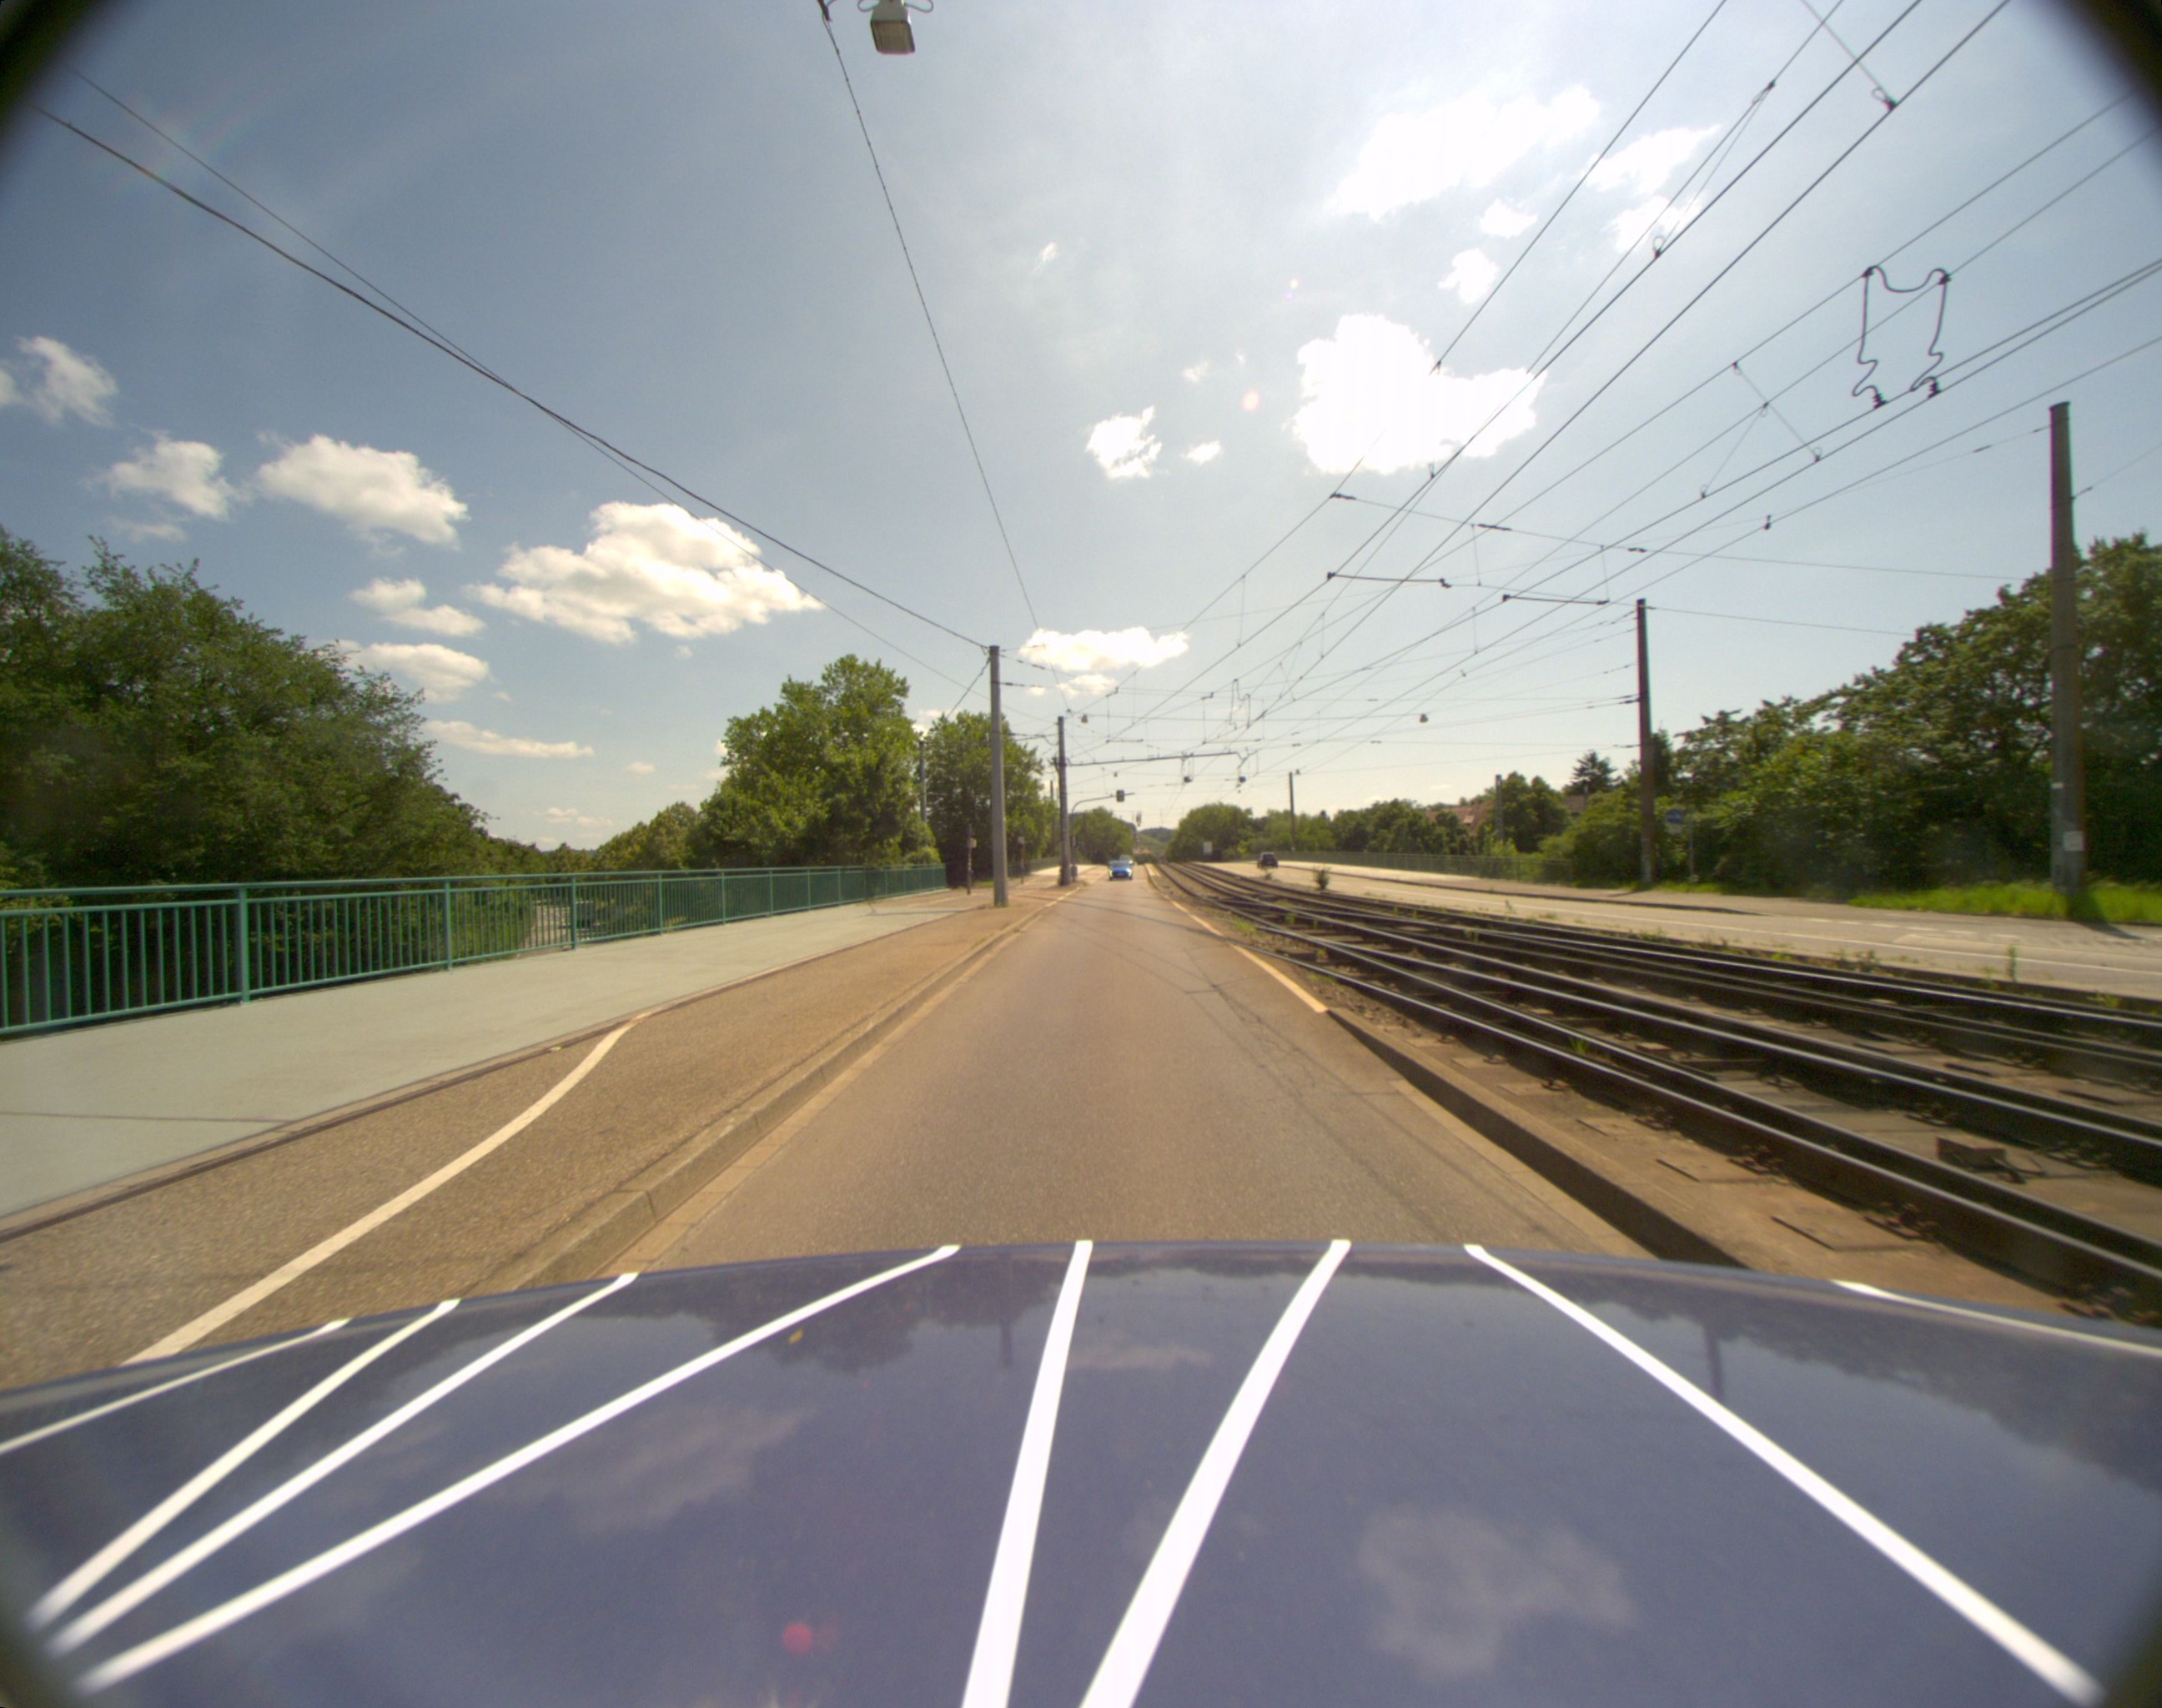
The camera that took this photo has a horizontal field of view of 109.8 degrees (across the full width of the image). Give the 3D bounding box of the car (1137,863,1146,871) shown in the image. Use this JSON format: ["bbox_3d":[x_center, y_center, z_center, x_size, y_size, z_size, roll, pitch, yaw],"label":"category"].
[{"bbox_3d":[12.580,2.701,158.298,1.730,1.696,4.000,-1,0,1],"label":"car"}]

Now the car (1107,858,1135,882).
[{"bbox_3d":[3.039,1.224,57.054,1.864,1.630,4.002,-2,-1,5],"label":"car"}]

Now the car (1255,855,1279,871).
[{"bbox_3d":[18.297,0.843,74.974,1.708,1.501,3.734,-1,0,5],"label":"car"}]

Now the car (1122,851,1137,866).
[{"bbox_3d":[5.959,0.618,94.361,1.683,1.736,3.686,-3,-1,2],"label":"car"}]

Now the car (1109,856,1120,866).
[{"bbox_3d":[6.240,1.324,142.468,1.998,1.542,4.724,-3,-2,2],"label":"car"}]
